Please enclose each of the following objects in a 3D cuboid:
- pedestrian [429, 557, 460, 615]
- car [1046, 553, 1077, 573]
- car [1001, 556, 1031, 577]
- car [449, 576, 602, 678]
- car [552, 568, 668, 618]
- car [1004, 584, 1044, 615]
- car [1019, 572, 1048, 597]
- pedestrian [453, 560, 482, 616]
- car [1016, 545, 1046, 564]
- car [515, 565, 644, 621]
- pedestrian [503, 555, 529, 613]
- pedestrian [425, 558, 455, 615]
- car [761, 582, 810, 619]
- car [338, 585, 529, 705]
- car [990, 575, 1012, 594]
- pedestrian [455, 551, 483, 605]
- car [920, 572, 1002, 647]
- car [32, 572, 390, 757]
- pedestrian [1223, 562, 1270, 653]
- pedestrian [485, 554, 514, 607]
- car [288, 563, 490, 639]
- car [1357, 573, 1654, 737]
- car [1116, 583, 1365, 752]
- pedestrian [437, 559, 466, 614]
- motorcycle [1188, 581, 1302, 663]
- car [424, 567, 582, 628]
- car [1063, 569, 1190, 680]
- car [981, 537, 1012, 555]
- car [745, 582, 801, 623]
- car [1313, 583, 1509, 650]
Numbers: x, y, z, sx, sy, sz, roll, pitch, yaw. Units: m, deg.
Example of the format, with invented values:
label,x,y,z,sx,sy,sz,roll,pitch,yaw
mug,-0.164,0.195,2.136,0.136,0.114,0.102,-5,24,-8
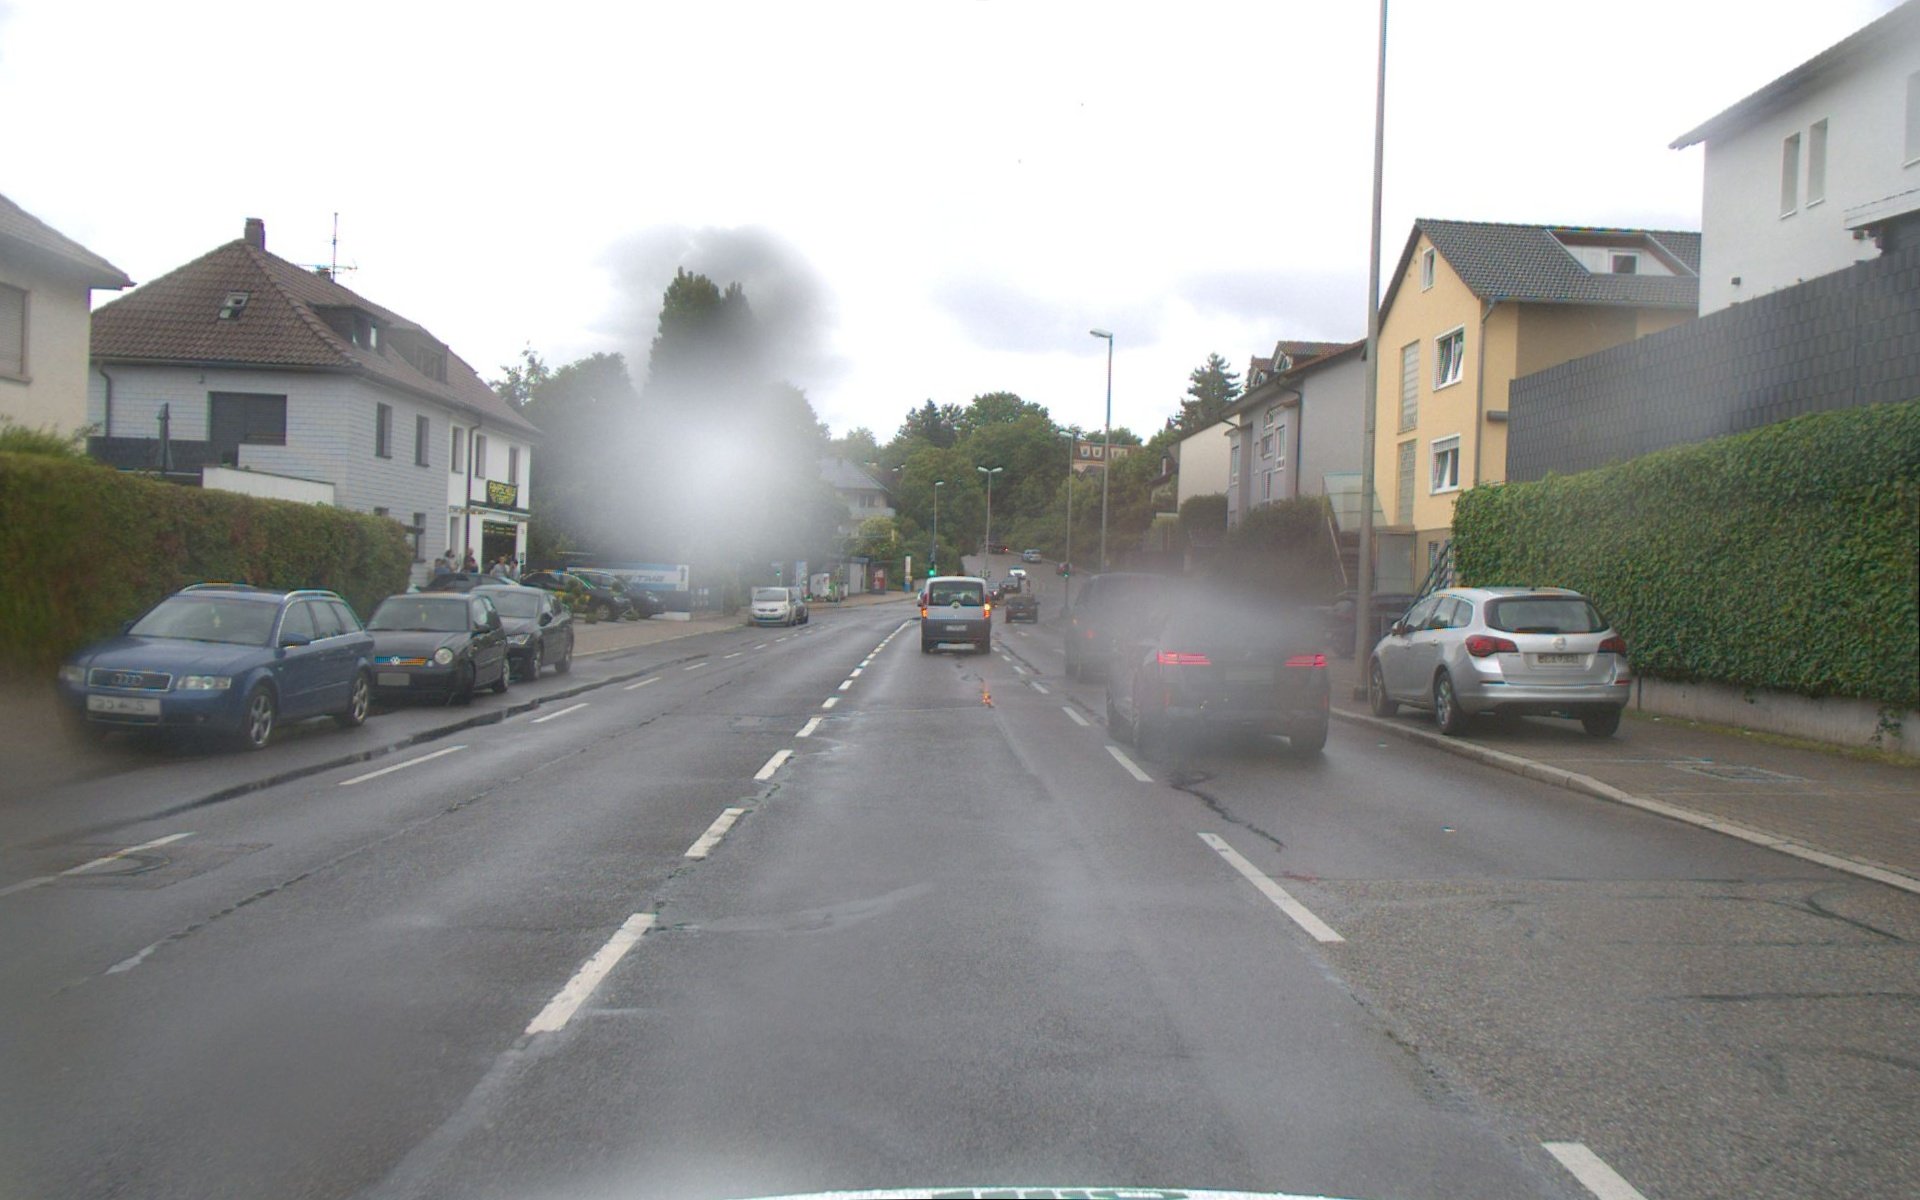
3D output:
label,x,y,z,sx,sy,sz,roll,pitch,yaw
pedestrian,-15.587,-0.418,50.016,0.588,1.694,0.650,4,0,4
car,11.844,-4.323,192.966,2.475,2.048,5.599,1,3,-9
car,6.255,-3.798,186.204,2.474,2.048,5.601,2,4,-8
car,-7.249,0.420,27.978,1.722,1.559,4.205,1,0,-4
car,-13.613,-0.274,64.498,3.991,1.542,1.855,5,0,-1
car,3.385,-0.057,88.400,1.953,1.606,4.000,0,1,-1
car,6.847,-1.460,154.401,2.470,2.048,5.610,2,3,0
pedestrian,-15.352,-0.366,51.557,0.588,1.694,0.650,4,0,4
car,9.047,-5.829,212.343,2.478,2.047,5.594,1,5,-12
car,-13.274,-0.243,57.840,3.991,1.542,1.855,5,0,-1
pedestrian,-14.373,-0.515,53.537,0.589,1.821,0.649,4,0,-6
pedestrian,-16.036,-0.424,51.013,0.588,1.694,0.650,4,0,4
car,-7.961,0.032,75.752,1.846,1.612,4.000,1,0,0
car,-7.033,0.554,22.456,1.520,1.456,4.011,1,0,-4
car,3.979,-1.539,160.588,1.953,1.803,4.000,0,1,-1
pedestrian,-16.125,-0.721,54.285,0.588,1.694,0.650,4,0,4
car,0.016,0.230,41.993,1.953,1.768,4.000,1,0,0
car,-7.194,0.552,16.410,1.722,1.559,4.284,1,0,-2
pedestrian,5.413,0.144,31.259,0.812,1.678,0.623,1,0,13
pedestrian,-15.051,-0.633,54.057,0.588,1.694,0.650,4,0,7
car,-12.983,0.021,37.784,3.906,1.542,1.855,2,0,-1
car,5.779,0.524,18.124,1.666,1.536,4.533,1,0,-1
car,2.766,0.612,17.204,1.952,1.509,4.000,1,0,1
pedestrian,-16.088,-0.429,52.356,0.588,1.694,0.650,4,0,4
motorcycle,5.396,0.410,31.262,2.038,1.476,0.760,1,0,14
car,-13.148,-0.073,47.770,3.990,1.542,1.855,2,0,-1
car,2.872,0.399,29.345,1.801,1.798,4.000,1,0,0
car,4.967,-7.463,227.506,2.482,2.047,5.583,1,4,-18
car,-7.782,0.093,69.134,1.846,1.612,4.000,1,0,0
car,10.149,0.361,37.394,3.907,1.458,1.868,0,0,-3
